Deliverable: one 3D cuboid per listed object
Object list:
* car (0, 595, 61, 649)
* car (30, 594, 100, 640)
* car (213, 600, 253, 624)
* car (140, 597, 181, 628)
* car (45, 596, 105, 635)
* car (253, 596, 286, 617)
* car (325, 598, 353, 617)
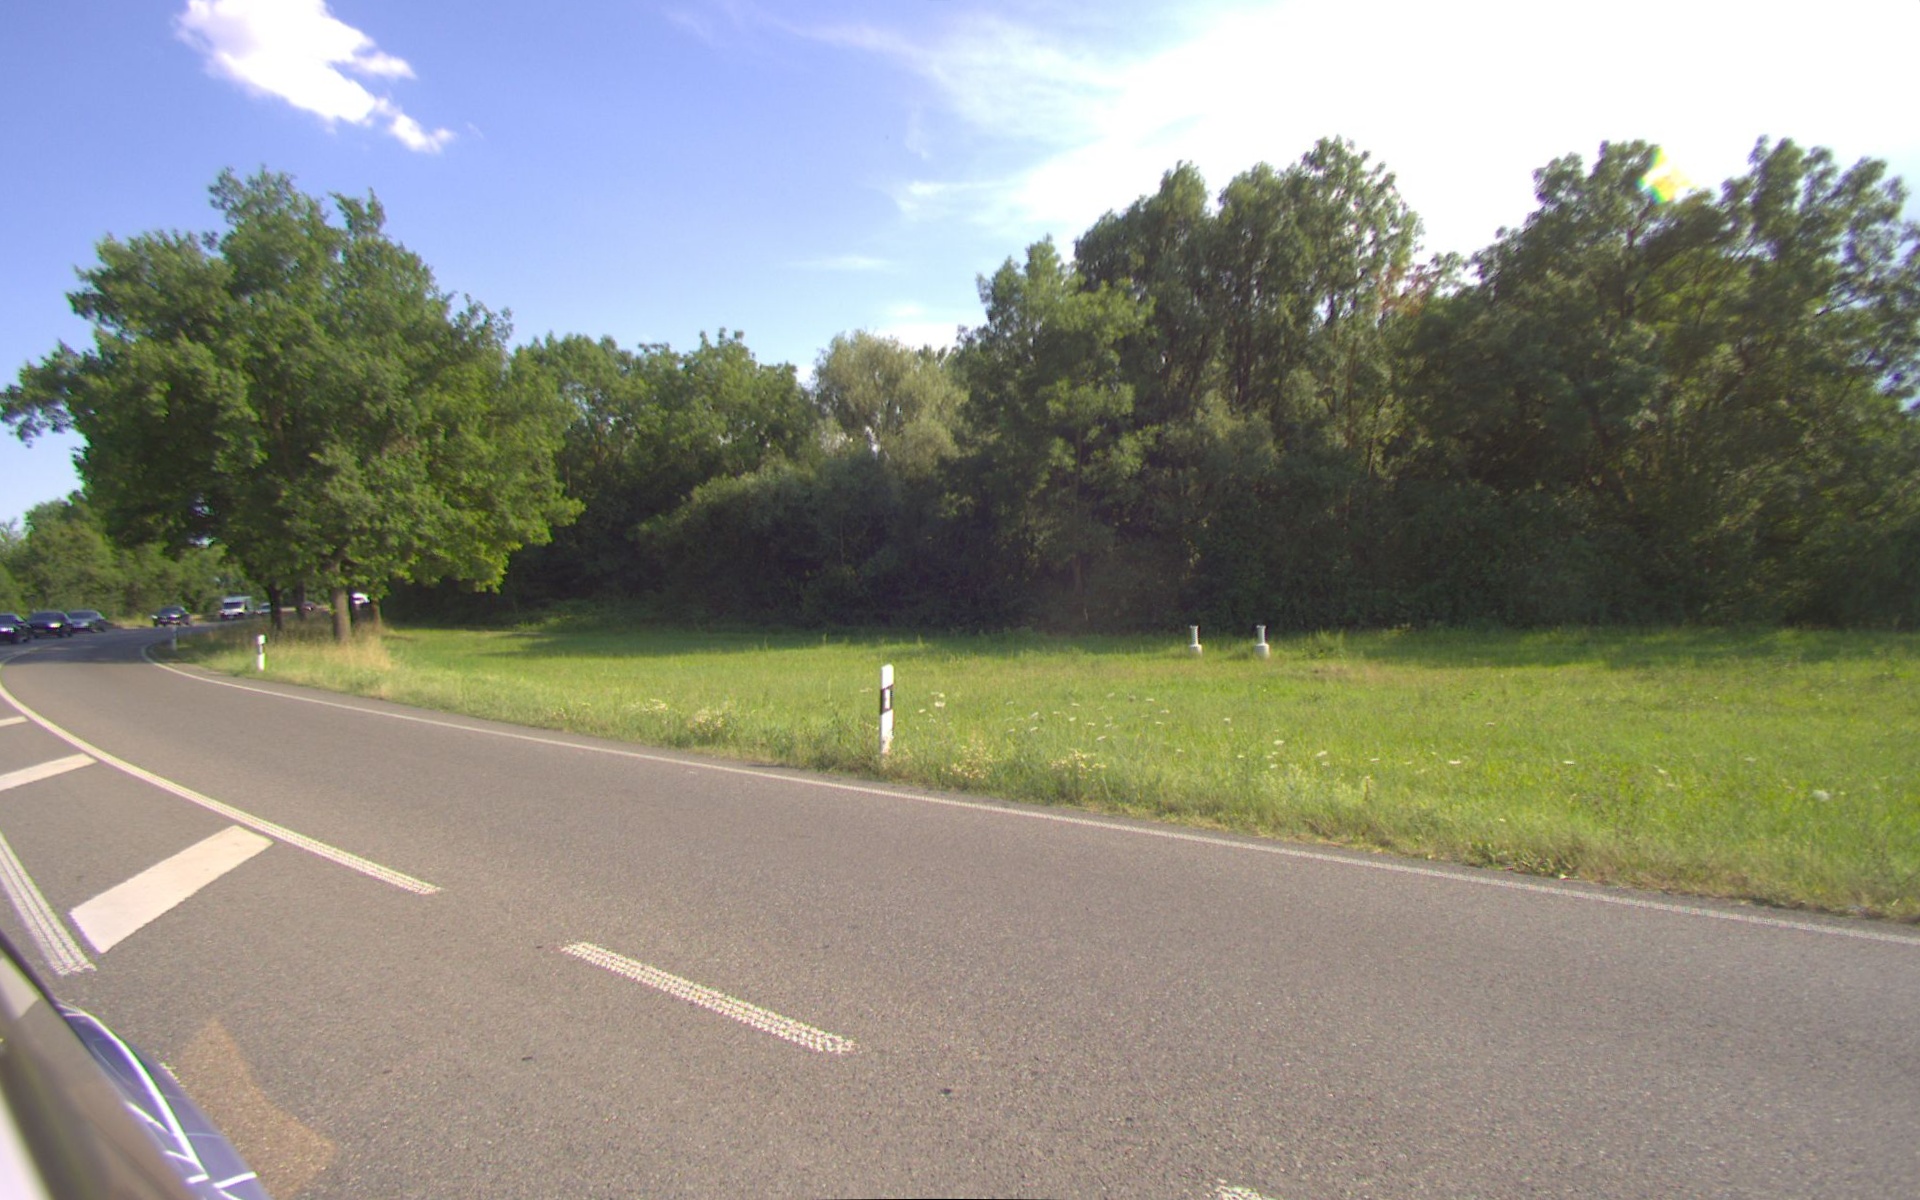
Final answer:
[{"bbox_3d":[-45.067,1.014,48.470,2.054,2.435,5.157,-1,0,-31],"label":"car"},{"bbox_3d":[-50.360,0.915,57.070,2.054,2.435,5.157,-1,0,-31],"label":"car"},{"bbox_3d":[-77.348,1.296,107.766,2.054,2.435,5.159,-1,0,-20],"label":"car"},{"bbox_3d":[-66.299,0.980,84.013,2.054,2.435,5.157,-1,0,-31],"label":"car"},{"bbox_3d":[-57.244,0.965,65.569,2.054,2.435,5.157,-1,0,-31],"label":"car"},{"bbox_3d":[-82.310,0.754,120.716,2.054,2.435,5.159,-1,0,-20],"label":"car"},{"bbox_3d":[-80.348,0.963,131.014,2.054,2.435,5.159,-1,0,-20],"label":"car"}]
